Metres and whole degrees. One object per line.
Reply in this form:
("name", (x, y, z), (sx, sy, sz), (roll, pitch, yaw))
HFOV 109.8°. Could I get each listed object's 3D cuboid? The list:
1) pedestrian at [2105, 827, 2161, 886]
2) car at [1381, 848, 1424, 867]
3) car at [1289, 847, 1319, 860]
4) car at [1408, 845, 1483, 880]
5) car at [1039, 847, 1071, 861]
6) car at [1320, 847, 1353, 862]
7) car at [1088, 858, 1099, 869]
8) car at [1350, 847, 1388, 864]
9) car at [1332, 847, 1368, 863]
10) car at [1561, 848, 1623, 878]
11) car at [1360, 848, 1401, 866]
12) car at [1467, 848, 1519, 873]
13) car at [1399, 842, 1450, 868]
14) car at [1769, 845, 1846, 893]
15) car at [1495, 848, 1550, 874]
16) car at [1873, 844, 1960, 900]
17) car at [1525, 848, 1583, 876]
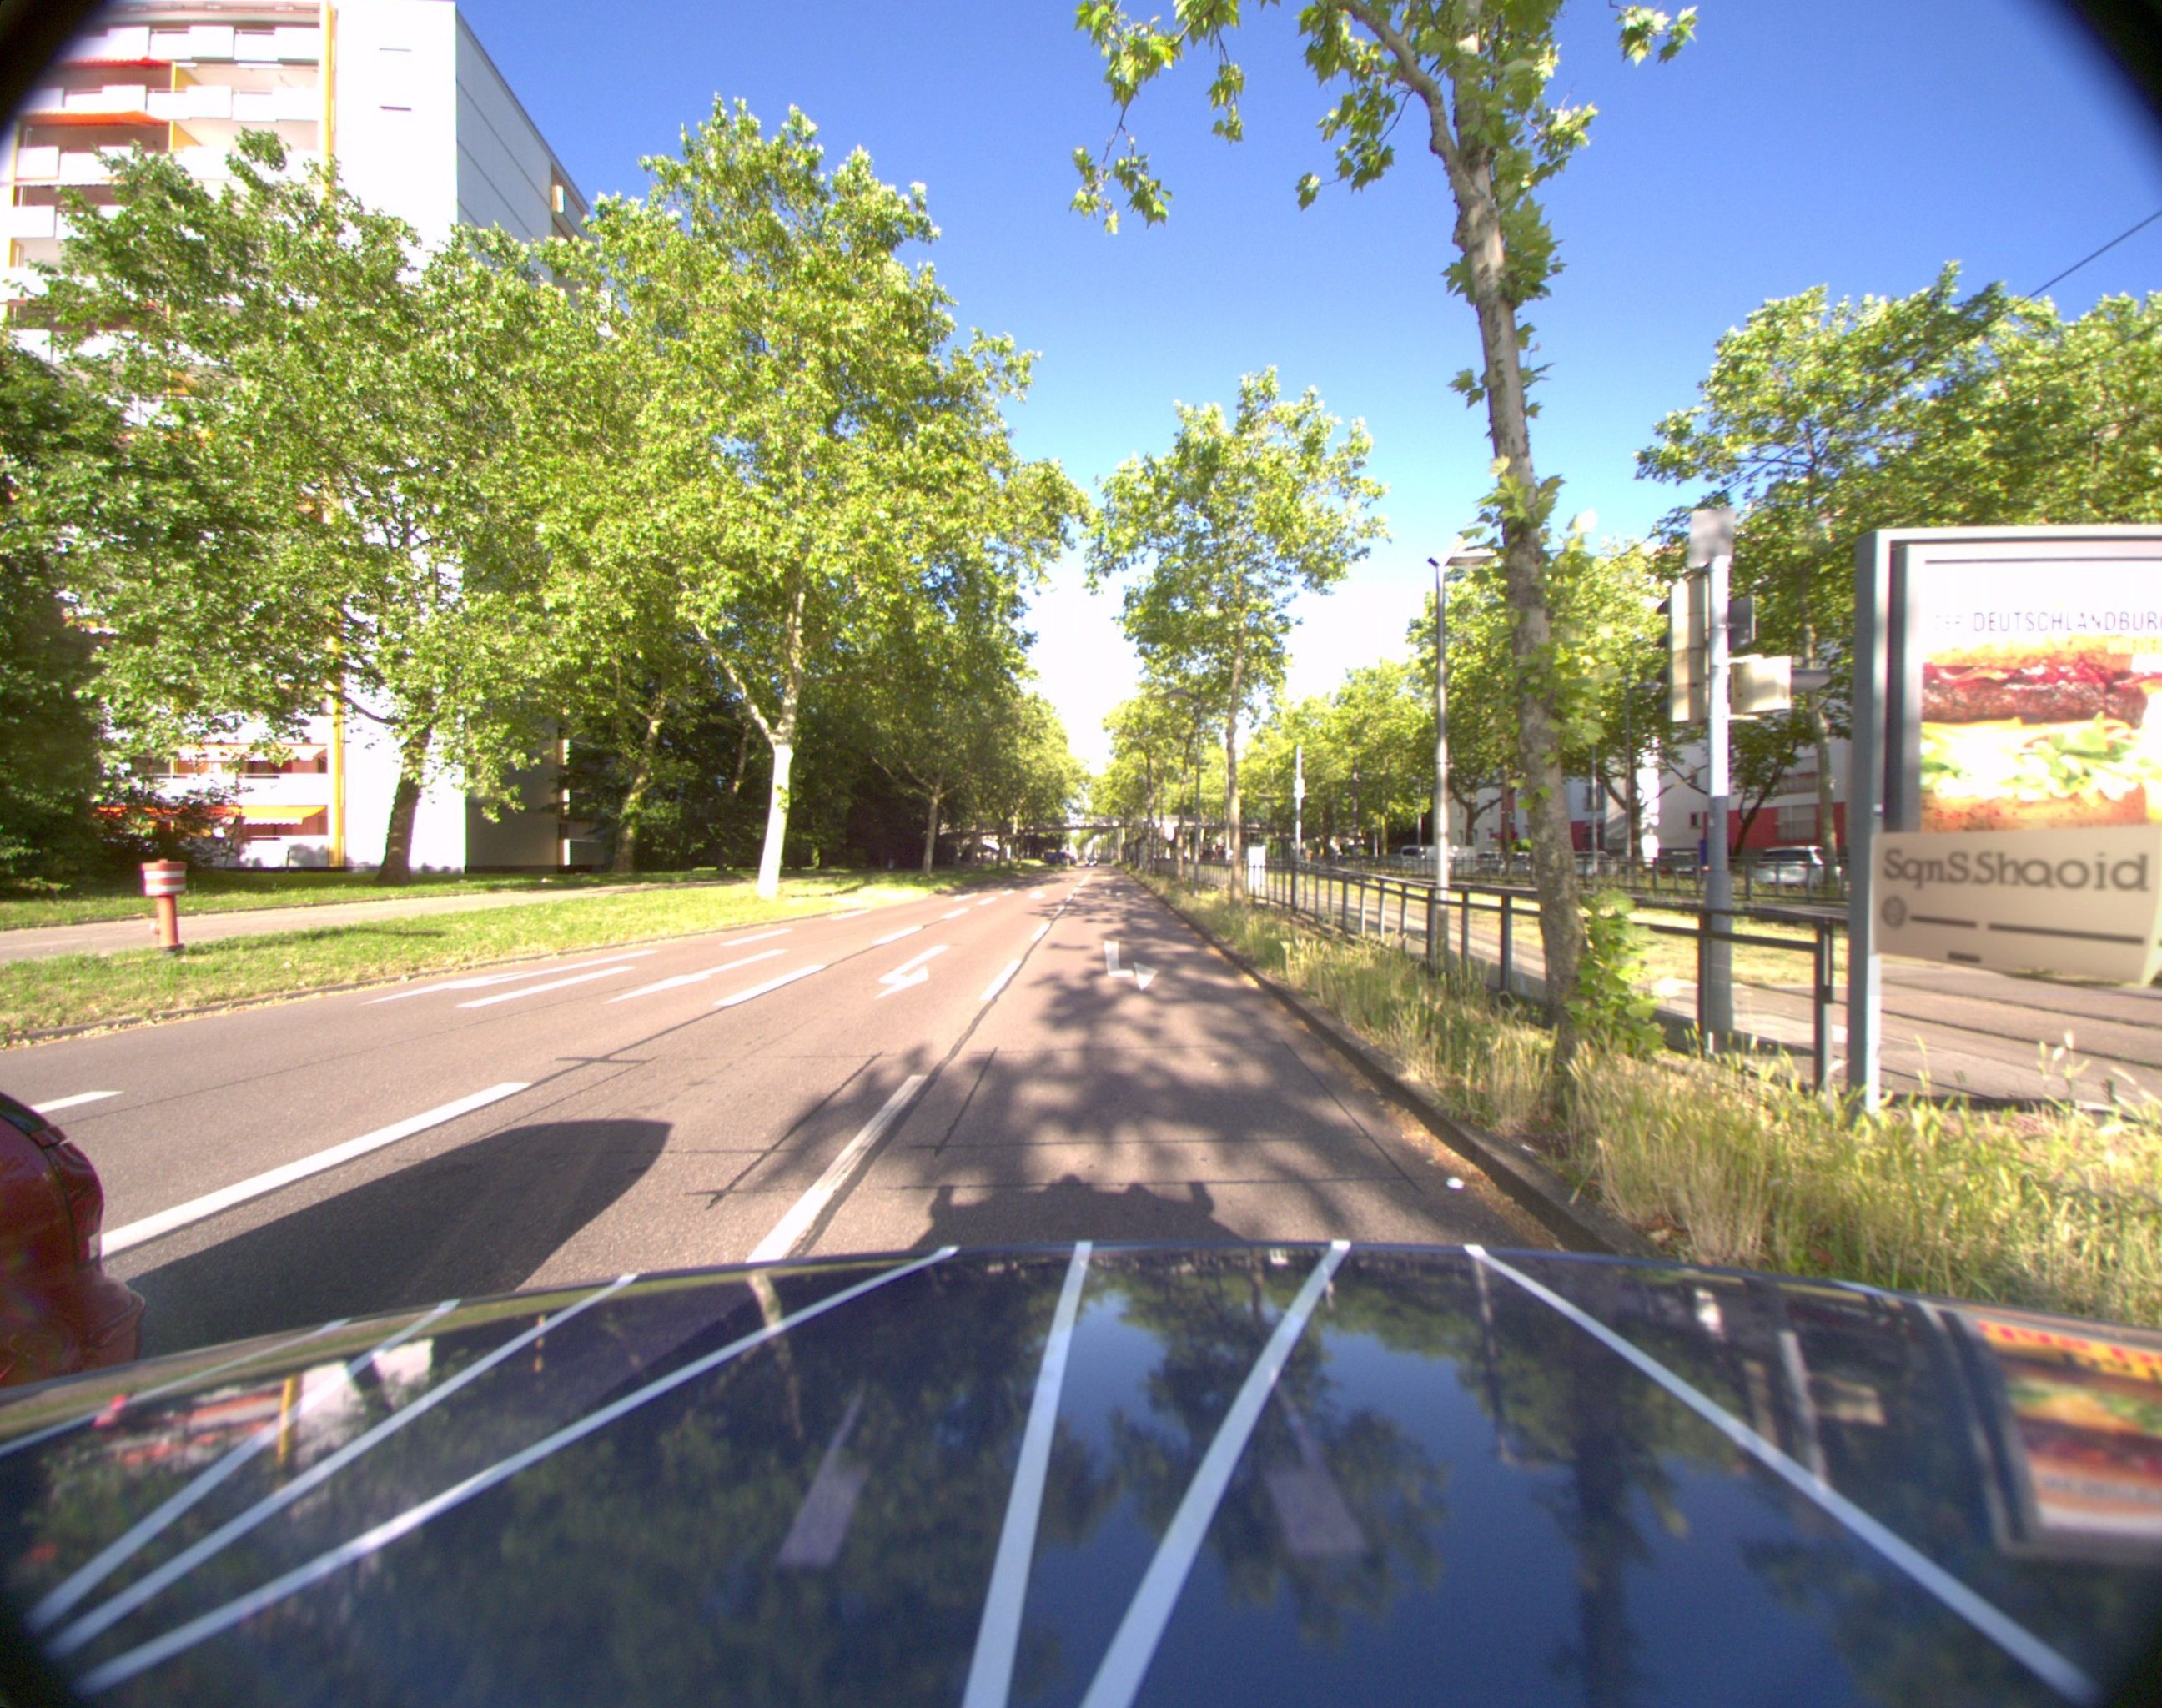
("pedestrian", (32.088, 0.070, 23.141), (0.764, 1.723, 0.786), (-2, 1, -1))
("car", (25.731, 0.251, 60.754), (3.811, 1.433, 1.652), (-2, 0, -42))
("car", (26.445, -0.068, 89.976), (3.811, 1.433, 1.652), (-2, 0, -42))
("car", (20.224, 0.427, 42.409), (1.831, 1.811, 4.902), (-2, 0, 0))
("car", (-4.043, -0.012, 118.756), (4.713, 1.924, 1.909), (-2, 0, 10))
("car", (26.790, 0.025, 79.627), (3.811, 1.433, 1.652), (-2, 0, -42))
("car", (1.781, 1.380, 109.601), (1.580, 1.395, 3.638), (-2, 0, 0))
("car", (26.622, 0.116, 70.135), (3.811, 1.433, 1.652), (-2, 0, -42))
("car", (26.069, 0.114, 73.567), (3.811, 1.433, 1.652), (-2, 0, -42))
("car", (25.381, 0.431, 37.700), (3.811, 1.348, 1.652), (-2, 0, -42))
("car", (24.946, 0.254, 63.211), (3.811, 1.433, 1.652), (-2, 0, -42))
("car", (25.851, 0.380, 47.680), (3.811, 1.433, 1.652), (-2, 0, -42))
("car", (25.820, 0.071, 57.032), (4.330, 1.863, 1.836), (-2, 0, -42))
("car", (25.355, 0.473, 26.477), (3.811, 1.501, 1.652), (-2, 0, -42))
("car", (26.098, 0.389, 44.866), (3.811, 1.433, 1.652), (-2, 0, -42))
("car", (25.241, 0.508, 22.968), (3.811, 1.501, 1.652), (-2, 0, -42))
("car", (25.863, 0.426, 41.481), (3.811, 1.433, 1.652), (-2, 0, -42))
